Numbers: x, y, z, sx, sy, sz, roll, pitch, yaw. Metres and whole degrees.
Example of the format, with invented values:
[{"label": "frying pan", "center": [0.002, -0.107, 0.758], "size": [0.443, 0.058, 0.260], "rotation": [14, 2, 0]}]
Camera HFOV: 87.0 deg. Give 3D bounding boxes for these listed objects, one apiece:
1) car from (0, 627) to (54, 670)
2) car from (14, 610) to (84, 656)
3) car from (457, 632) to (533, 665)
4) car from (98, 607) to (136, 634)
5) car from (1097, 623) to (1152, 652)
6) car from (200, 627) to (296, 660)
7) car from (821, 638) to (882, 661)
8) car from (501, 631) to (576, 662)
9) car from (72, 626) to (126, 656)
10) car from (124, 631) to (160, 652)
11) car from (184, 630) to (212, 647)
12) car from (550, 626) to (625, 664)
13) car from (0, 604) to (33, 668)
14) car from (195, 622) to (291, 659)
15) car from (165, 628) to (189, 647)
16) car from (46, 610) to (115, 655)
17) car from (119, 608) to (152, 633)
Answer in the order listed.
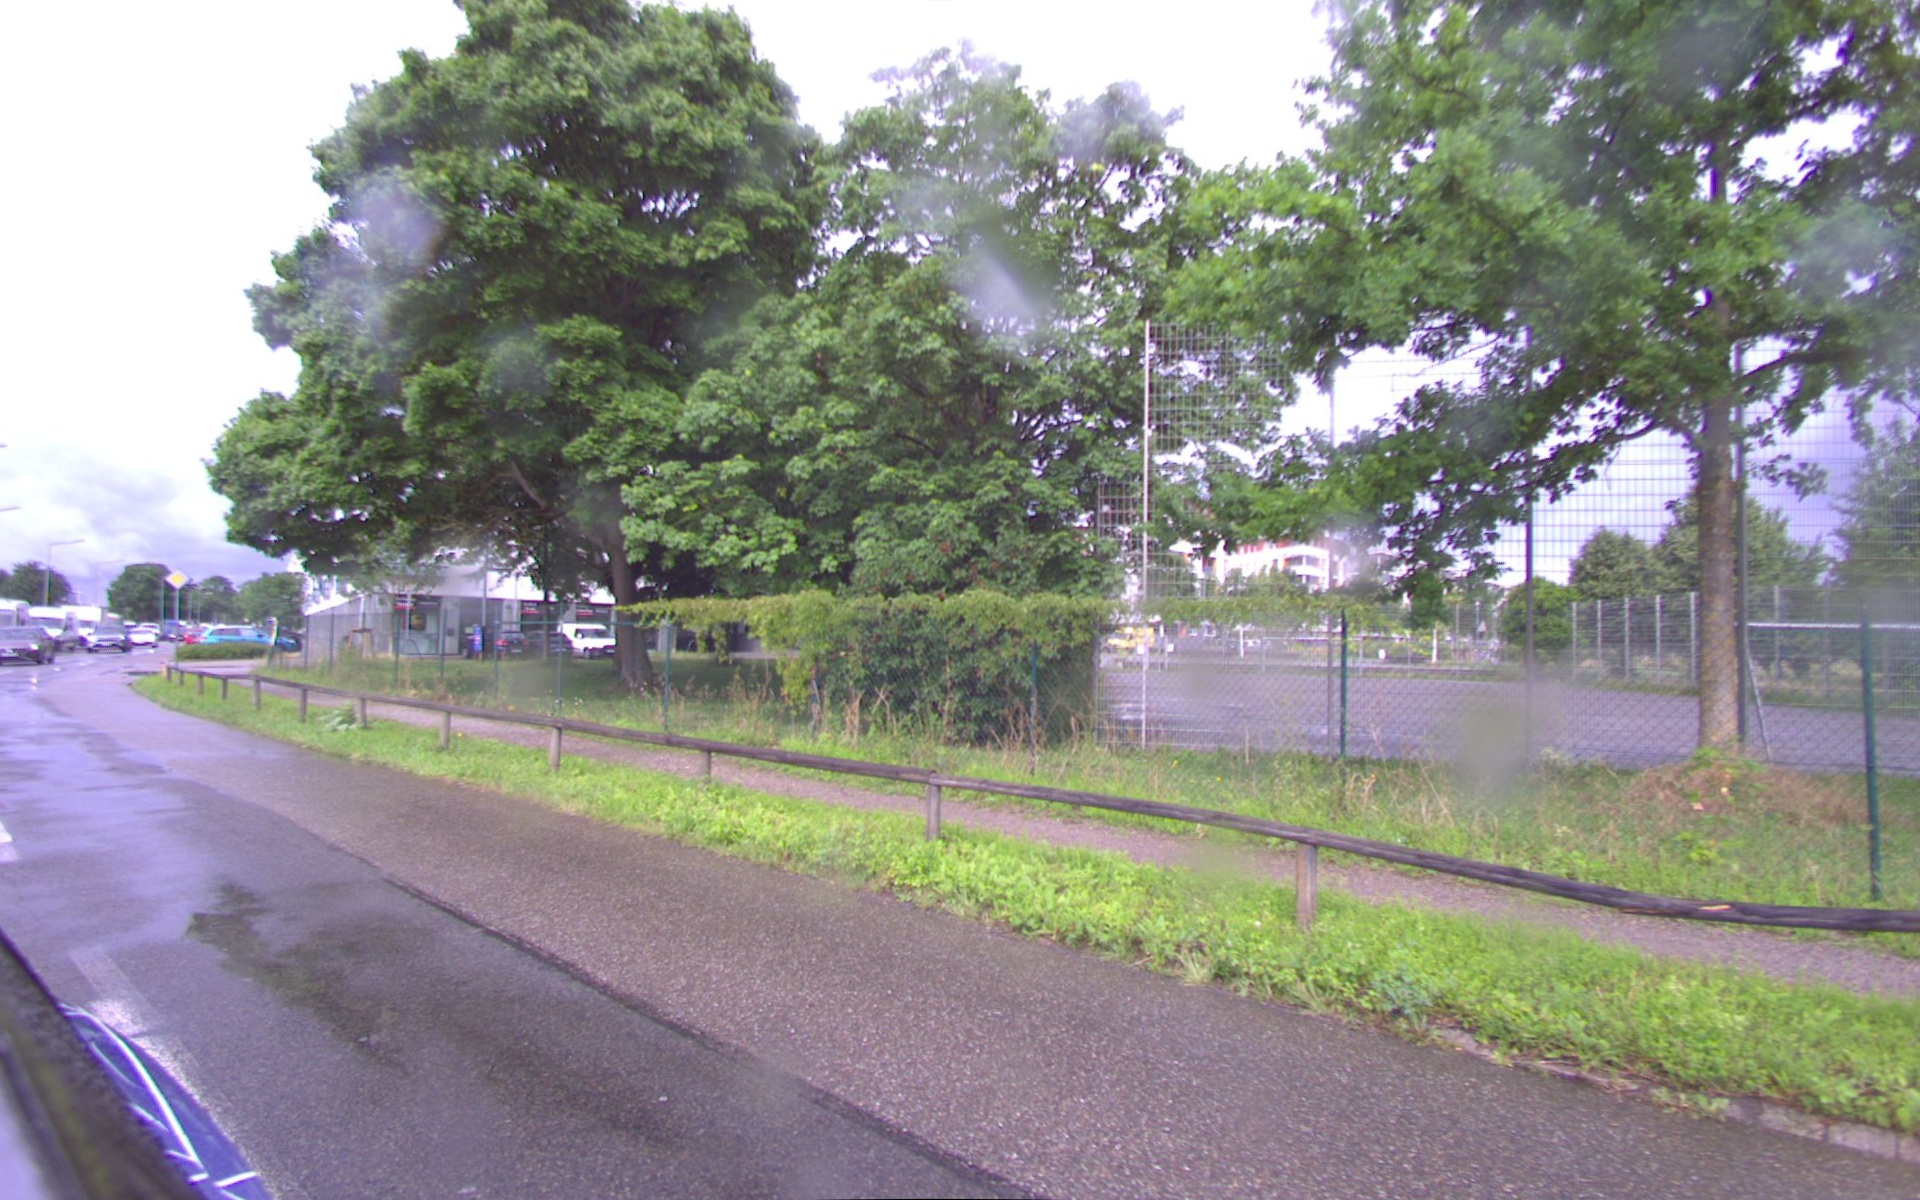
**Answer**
[{"label": "car", "center": [-35.883, 1.826, 38.360], "size": [1.844, 1.530, 4.367], "rotation": [3, -3, -36]}, {"label": "car", "center": [-55.562, 2.039, 61.853], "size": [2.040, 2.548, 6.675], "rotation": [5, -4, -33]}, {"label": "car", "center": [-22.664, 2.339, 49.240], "size": [4.182, 1.407, 1.622], "rotation": [0, -1, 38]}, {"label": "car", "center": [-71.616, 1.775, 85.996], "size": [1.967, 2.259, 4.575], "rotation": [3, -3, -34]}, {"label": "car", "center": [15.869, 3.521, 97.133], "size": [1.967, 2.633, 6.547], "rotation": [0, -1, 42]}, {"label": "car", "center": [-37.961, 2.281, 54.030], "size": [4.117, 1.561, 1.864], "rotation": [-1, -1, -36]}, {"label": "car", "center": [-7.363, 3.322, 68.474], "size": [4.179, 1.407, 1.622], "rotation": [0, -1, 38]}, {"label": "car", "center": [-21.225, 2.301, 50.856], "size": [4.123, 1.407, 1.667], "rotation": [0, -1, 38]}, {"label": "car", "center": [-51.649, 2.437, 60.798], "size": [1.978, 1.718, 4.340], "rotation": [2, -2, -34]}, {"label": "car", "center": [-63.341, 3.225, 78.385], "size": [1.812, 1.530, 4.368], "rotation": [3, -3, -35]}, {"label": "car", "center": [-69.087, 3.491, 91.811], "size": [1.634, 1.479, 3.399], "rotation": [2, -3, -32]}, {"label": "car", "center": [-19.480, 2.313, 52.870], "size": [4.344, 1.849, 1.622], "rotation": [0, -1, 38]}, {"label": "car", "center": [-46.168, 1.645, 48.233], "size": [2.116, 2.905, 5.288], "rotation": [6, -5, -36]}, {"label": "car", "center": [-35.271, 1.949, 49.879], "size": [3.758, 1.646, 1.760], "rotation": [-1, -1, -33]}, {"label": "car", "center": [-85.414, 4.067, 110.474], "size": [1.967, 2.029, 4.009], "rotation": [-1, -1, -36]}, {"label": "car", "center": [-61.564, 2.292, 70.990], "size": [2.437, 2.978, 6.906], "rotation": [4, -4, -32]}, {"label": "car", "center": [-78.019, 1.998, 95.838], "size": [1.967, 2.259, 4.575], "rotation": [3, -3, -34]}]
